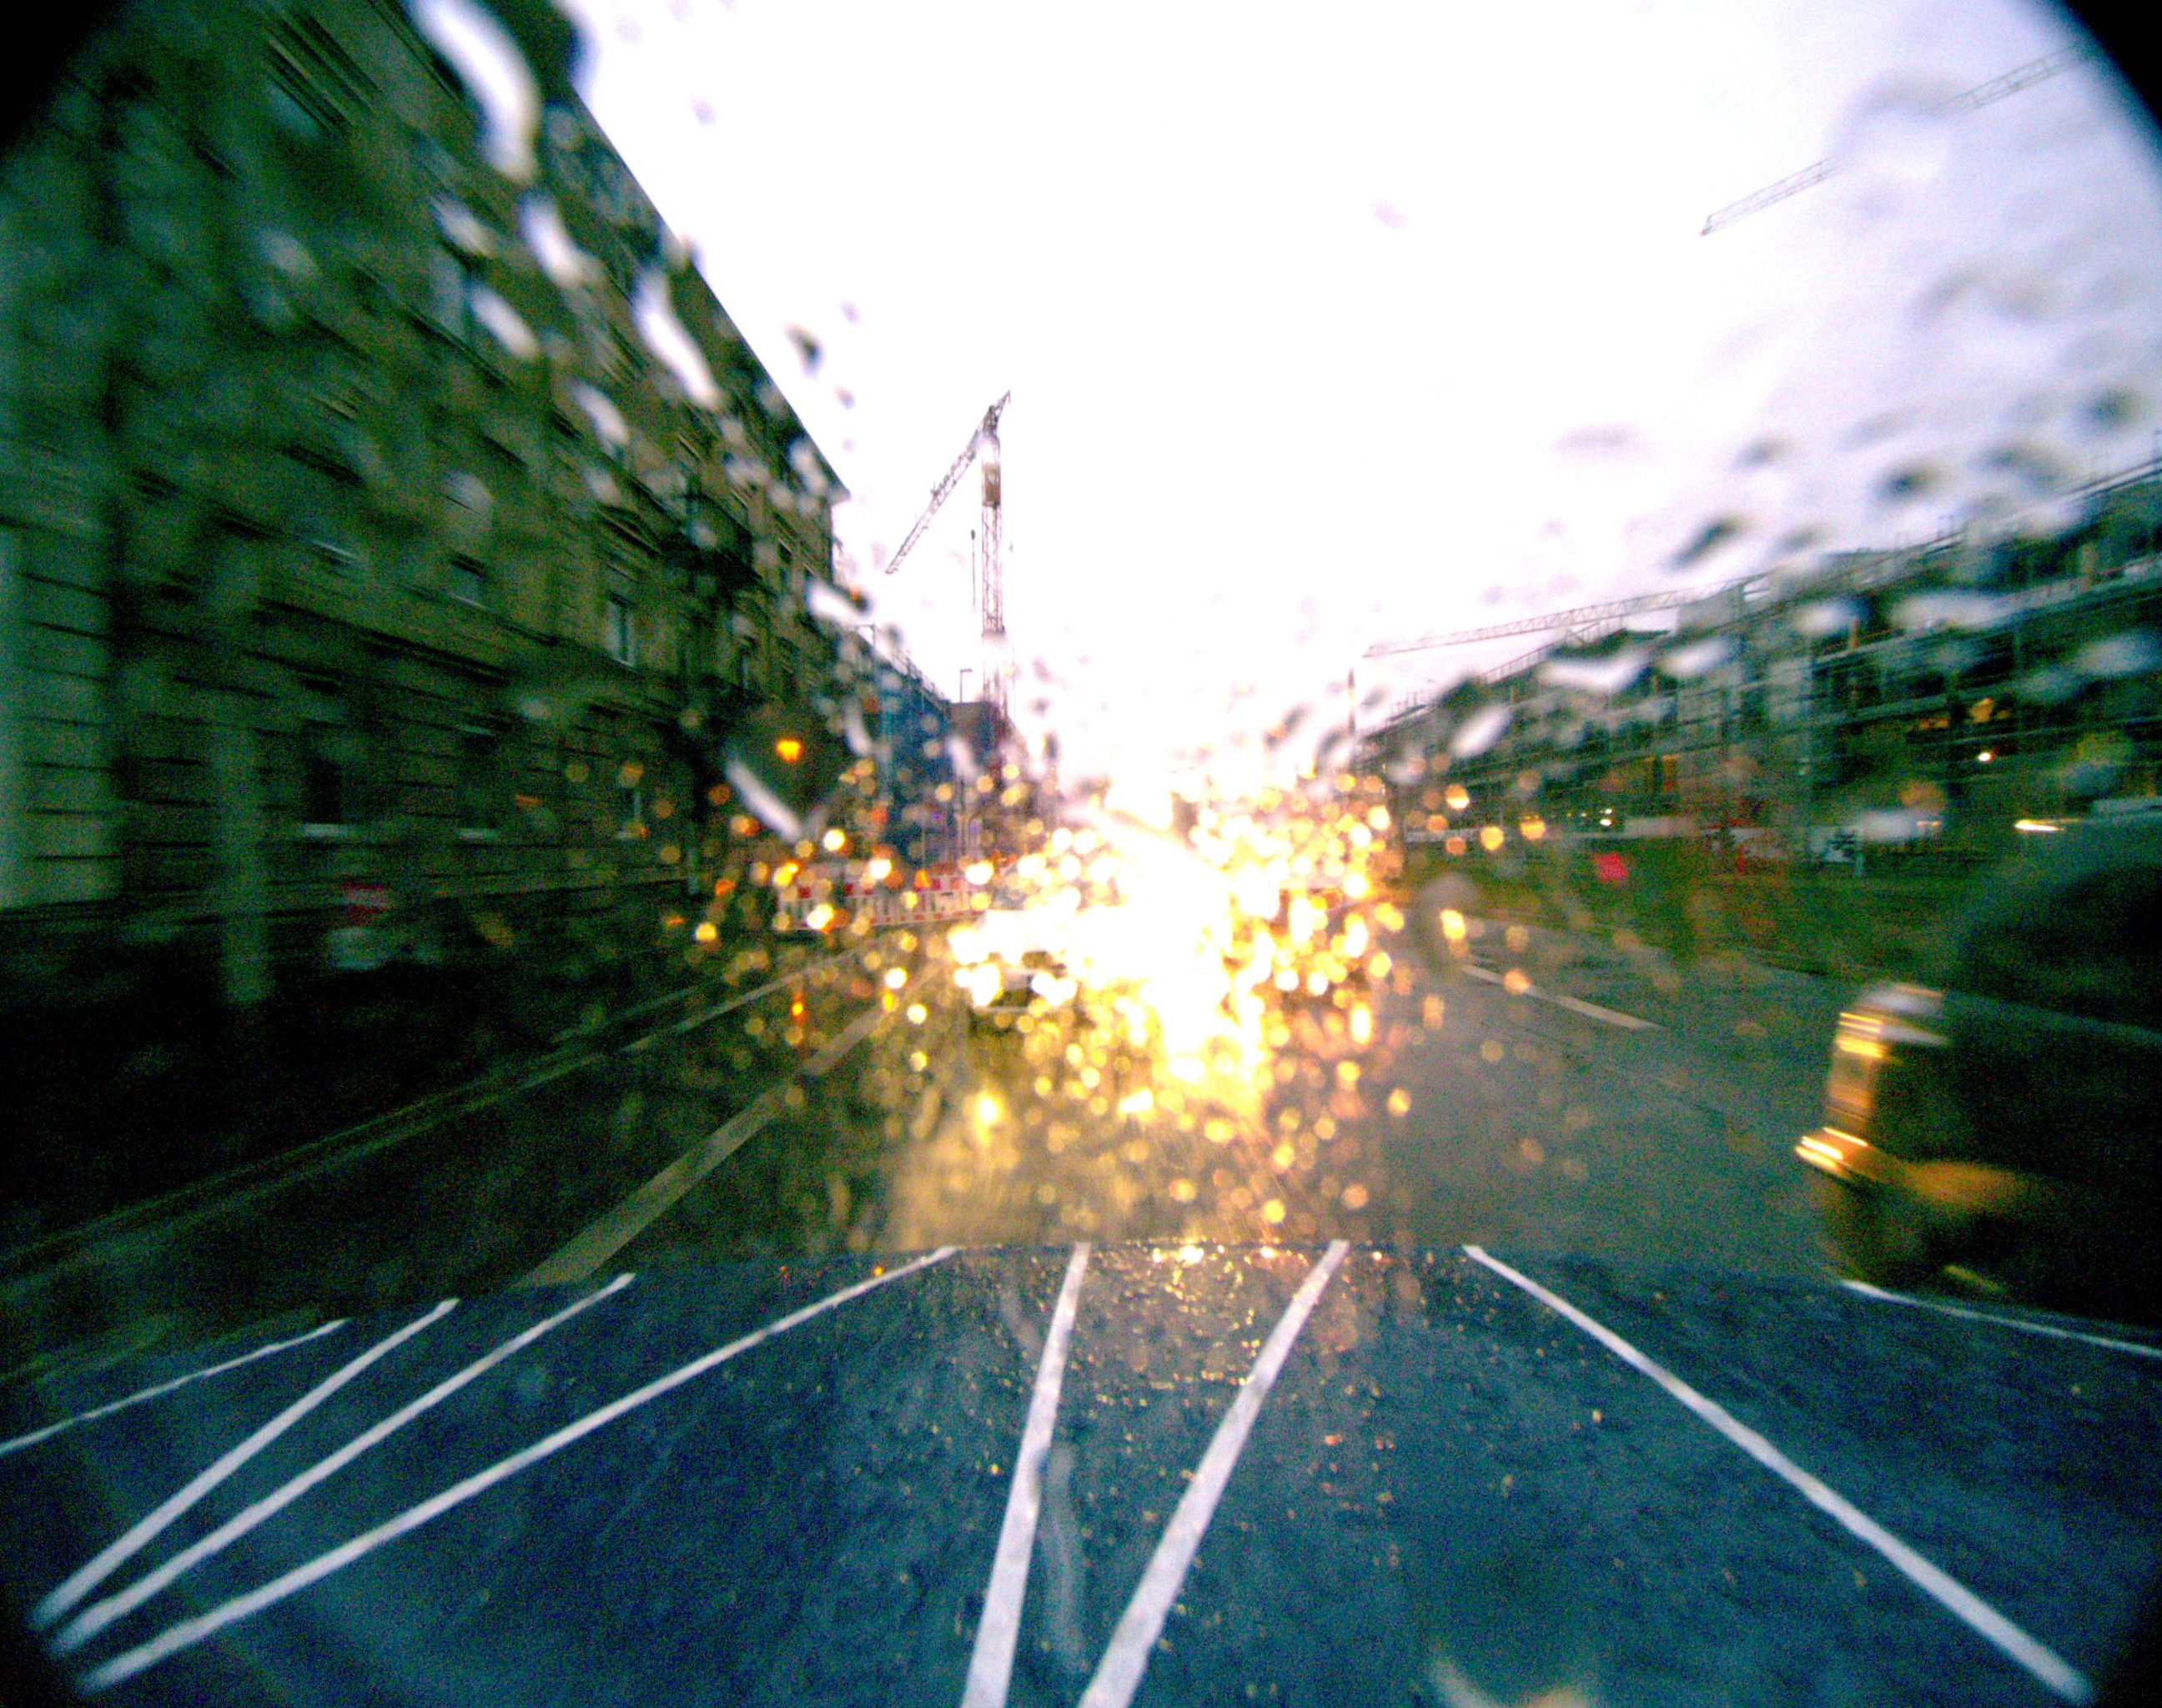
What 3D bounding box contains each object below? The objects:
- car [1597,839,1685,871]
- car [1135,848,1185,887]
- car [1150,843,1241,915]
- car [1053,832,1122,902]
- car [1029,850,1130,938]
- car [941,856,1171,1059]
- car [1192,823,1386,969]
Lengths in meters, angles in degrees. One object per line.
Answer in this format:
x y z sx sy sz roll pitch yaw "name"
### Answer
31.943 0.013 43.474 1.957 1.677 4.082 -3 1 0 "car"
3.566 0.561 34.942 1.844 1.547 3.999 -3 1 0 "car"
3.005 0.591 20.842 1.844 1.645 4.323 -3 1 1 "car"
0.143 0.320 23.380 1.858 1.886 3.998 -3 1 -1 "car"
-0.065 0.716 15.734 1.764 1.444 3.998 -3 1 -1 "car"
-0.234 0.829 8.037 1.764 1.444 3.998 -3 1 -1 "car"
2.862 0.481 11.383 1.858 1.723 3.999 -3 1 2 "car"
